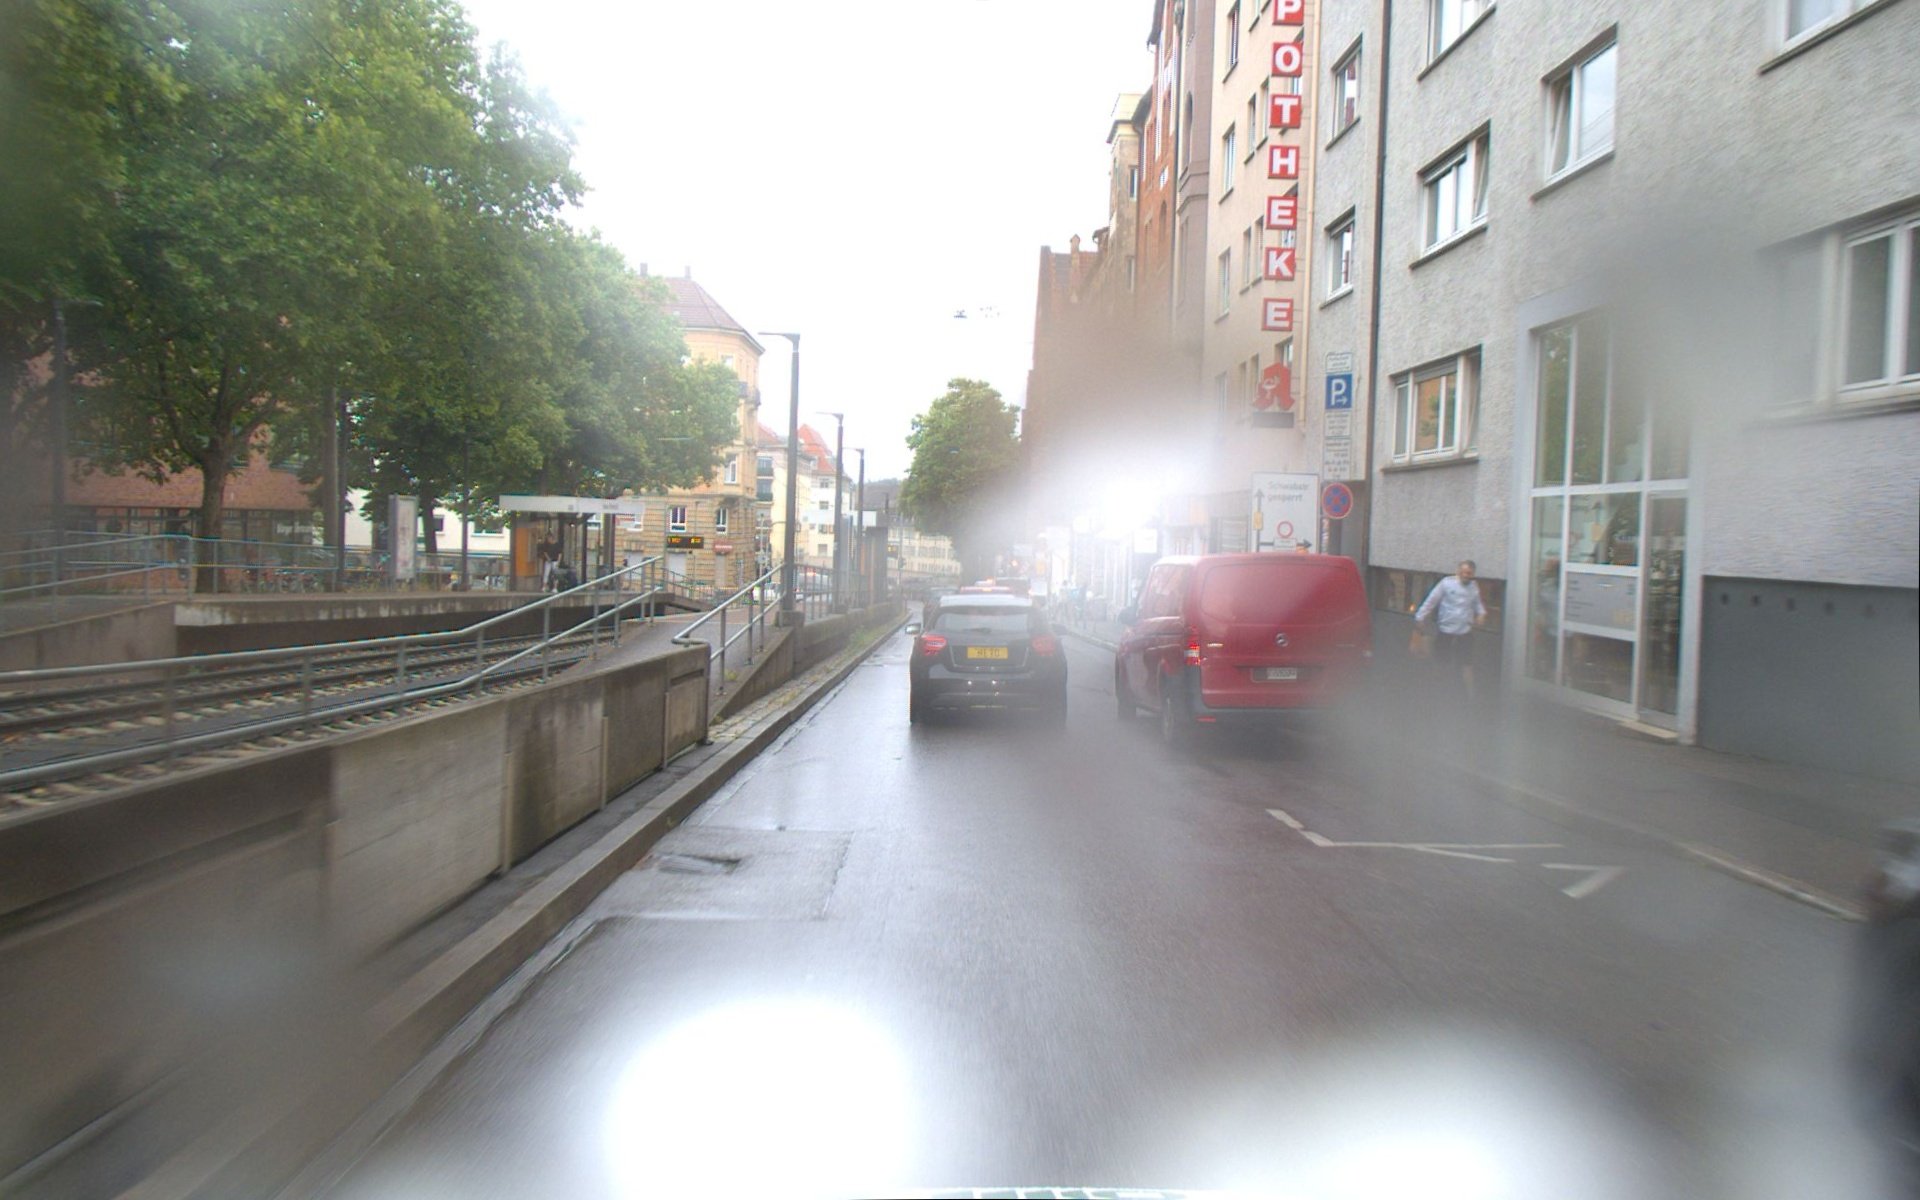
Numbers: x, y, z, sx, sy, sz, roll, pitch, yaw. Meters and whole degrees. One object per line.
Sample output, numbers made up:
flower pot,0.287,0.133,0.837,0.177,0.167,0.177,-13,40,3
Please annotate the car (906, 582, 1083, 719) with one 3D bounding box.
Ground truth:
car,0.372,0.518,19.539,1.856,1.414,4.000,1,1,0

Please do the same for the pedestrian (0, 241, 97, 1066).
pedestrian,-2.544,0.117,3.622,0.842,1.830,0.787,2,0,-1

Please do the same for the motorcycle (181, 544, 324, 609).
motorcycle,-21.357,-0.701,49.976,3.786,1.805,1.006,2,-1,-2

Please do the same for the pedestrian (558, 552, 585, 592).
pedestrian,-12.484,-0.892,53.145,0.689,1.262,0.564,2,0,-3

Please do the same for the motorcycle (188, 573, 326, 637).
motorcycle,-21.844,0.165,51.457,3.786,1.847,1.006,2,-1,-2

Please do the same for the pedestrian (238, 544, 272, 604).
pedestrian,-24.484,-0.883,57.448,0.717,2.049,0.980,1,0,0

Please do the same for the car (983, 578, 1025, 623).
car,2.025,0.033,77.279,1.881,1.970,4.685,1,0,0

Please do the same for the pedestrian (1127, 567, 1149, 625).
pedestrian,5.793,-0.140,53.916,0.566,1.862,0.563,-2,-1,-3

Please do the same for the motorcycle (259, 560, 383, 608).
motorcycle,-21.925,-0.554,56.830,3.786,1.514,1.006,2,-1,-2

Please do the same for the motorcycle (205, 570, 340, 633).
motorcycle,-21.856,0.050,52.606,3.786,1.847,1.006,2,-1,-2

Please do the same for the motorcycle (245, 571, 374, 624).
motorcycle,-21.547,-0.071,54.829,3.786,1.633,1.006,2,-1,-2

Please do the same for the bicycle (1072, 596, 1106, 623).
bicycle,5.528,0.426,70.641,1.676,1.135,0.457,1,-1,-44

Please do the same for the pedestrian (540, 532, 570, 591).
pedestrian,-11.743,-1.110,47.985,0.672,1.670,0.564,2,0,-3

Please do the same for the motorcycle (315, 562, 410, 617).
motorcycle,-21.569,-0.368,59.745,2.975,1.847,0.993,2,-1,-2

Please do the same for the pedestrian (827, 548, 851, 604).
pedestrian,-3.525,-0.695,48.232,0.485,1.633,0.637,1,-1,16

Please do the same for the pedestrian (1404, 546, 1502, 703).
pedestrian,5.815,0.283,19.548,0.834,1.788,0.837,2,0,0

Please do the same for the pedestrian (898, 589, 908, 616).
pedestrian,-3.319,0.133,96.853,0.521,1.557,0.436,2,-1,-9

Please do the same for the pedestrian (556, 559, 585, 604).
pedestrian,-12.341,-0.573,52.405,0.762,1.386,0.564,2,0,-3

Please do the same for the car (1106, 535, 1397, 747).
car,2.854,0.386,17.461,1.935,1.870,5.243,1,0,-2

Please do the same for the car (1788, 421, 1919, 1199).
car,2.894,0.516,1.798,1.729,1.738,4.499,1,0,0

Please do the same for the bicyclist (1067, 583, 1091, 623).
bicyclist,5.119,0.134,70.920,0.843,1.686,0.621,1,-1,-44

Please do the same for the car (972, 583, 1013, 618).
car,1.793,0.000,92.653,1.895,1.863,4.278,2,0,-3

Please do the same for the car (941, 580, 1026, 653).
car,0.478,0.346,36.283,1.646,1.515,3.611,1,0,-2

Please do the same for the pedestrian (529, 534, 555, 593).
pedestrian,-12.521,-1.094,49.553,0.551,1.745,0.705,2,0,-2

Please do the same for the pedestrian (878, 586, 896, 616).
pedestrian,-4.257,0.051,96.880,0.735,1.754,0.729,2,-1,-44

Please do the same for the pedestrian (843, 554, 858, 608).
pedestrian,-3.324,-0.564,50.341,0.401,1.633,0.450,1,-1,-6
